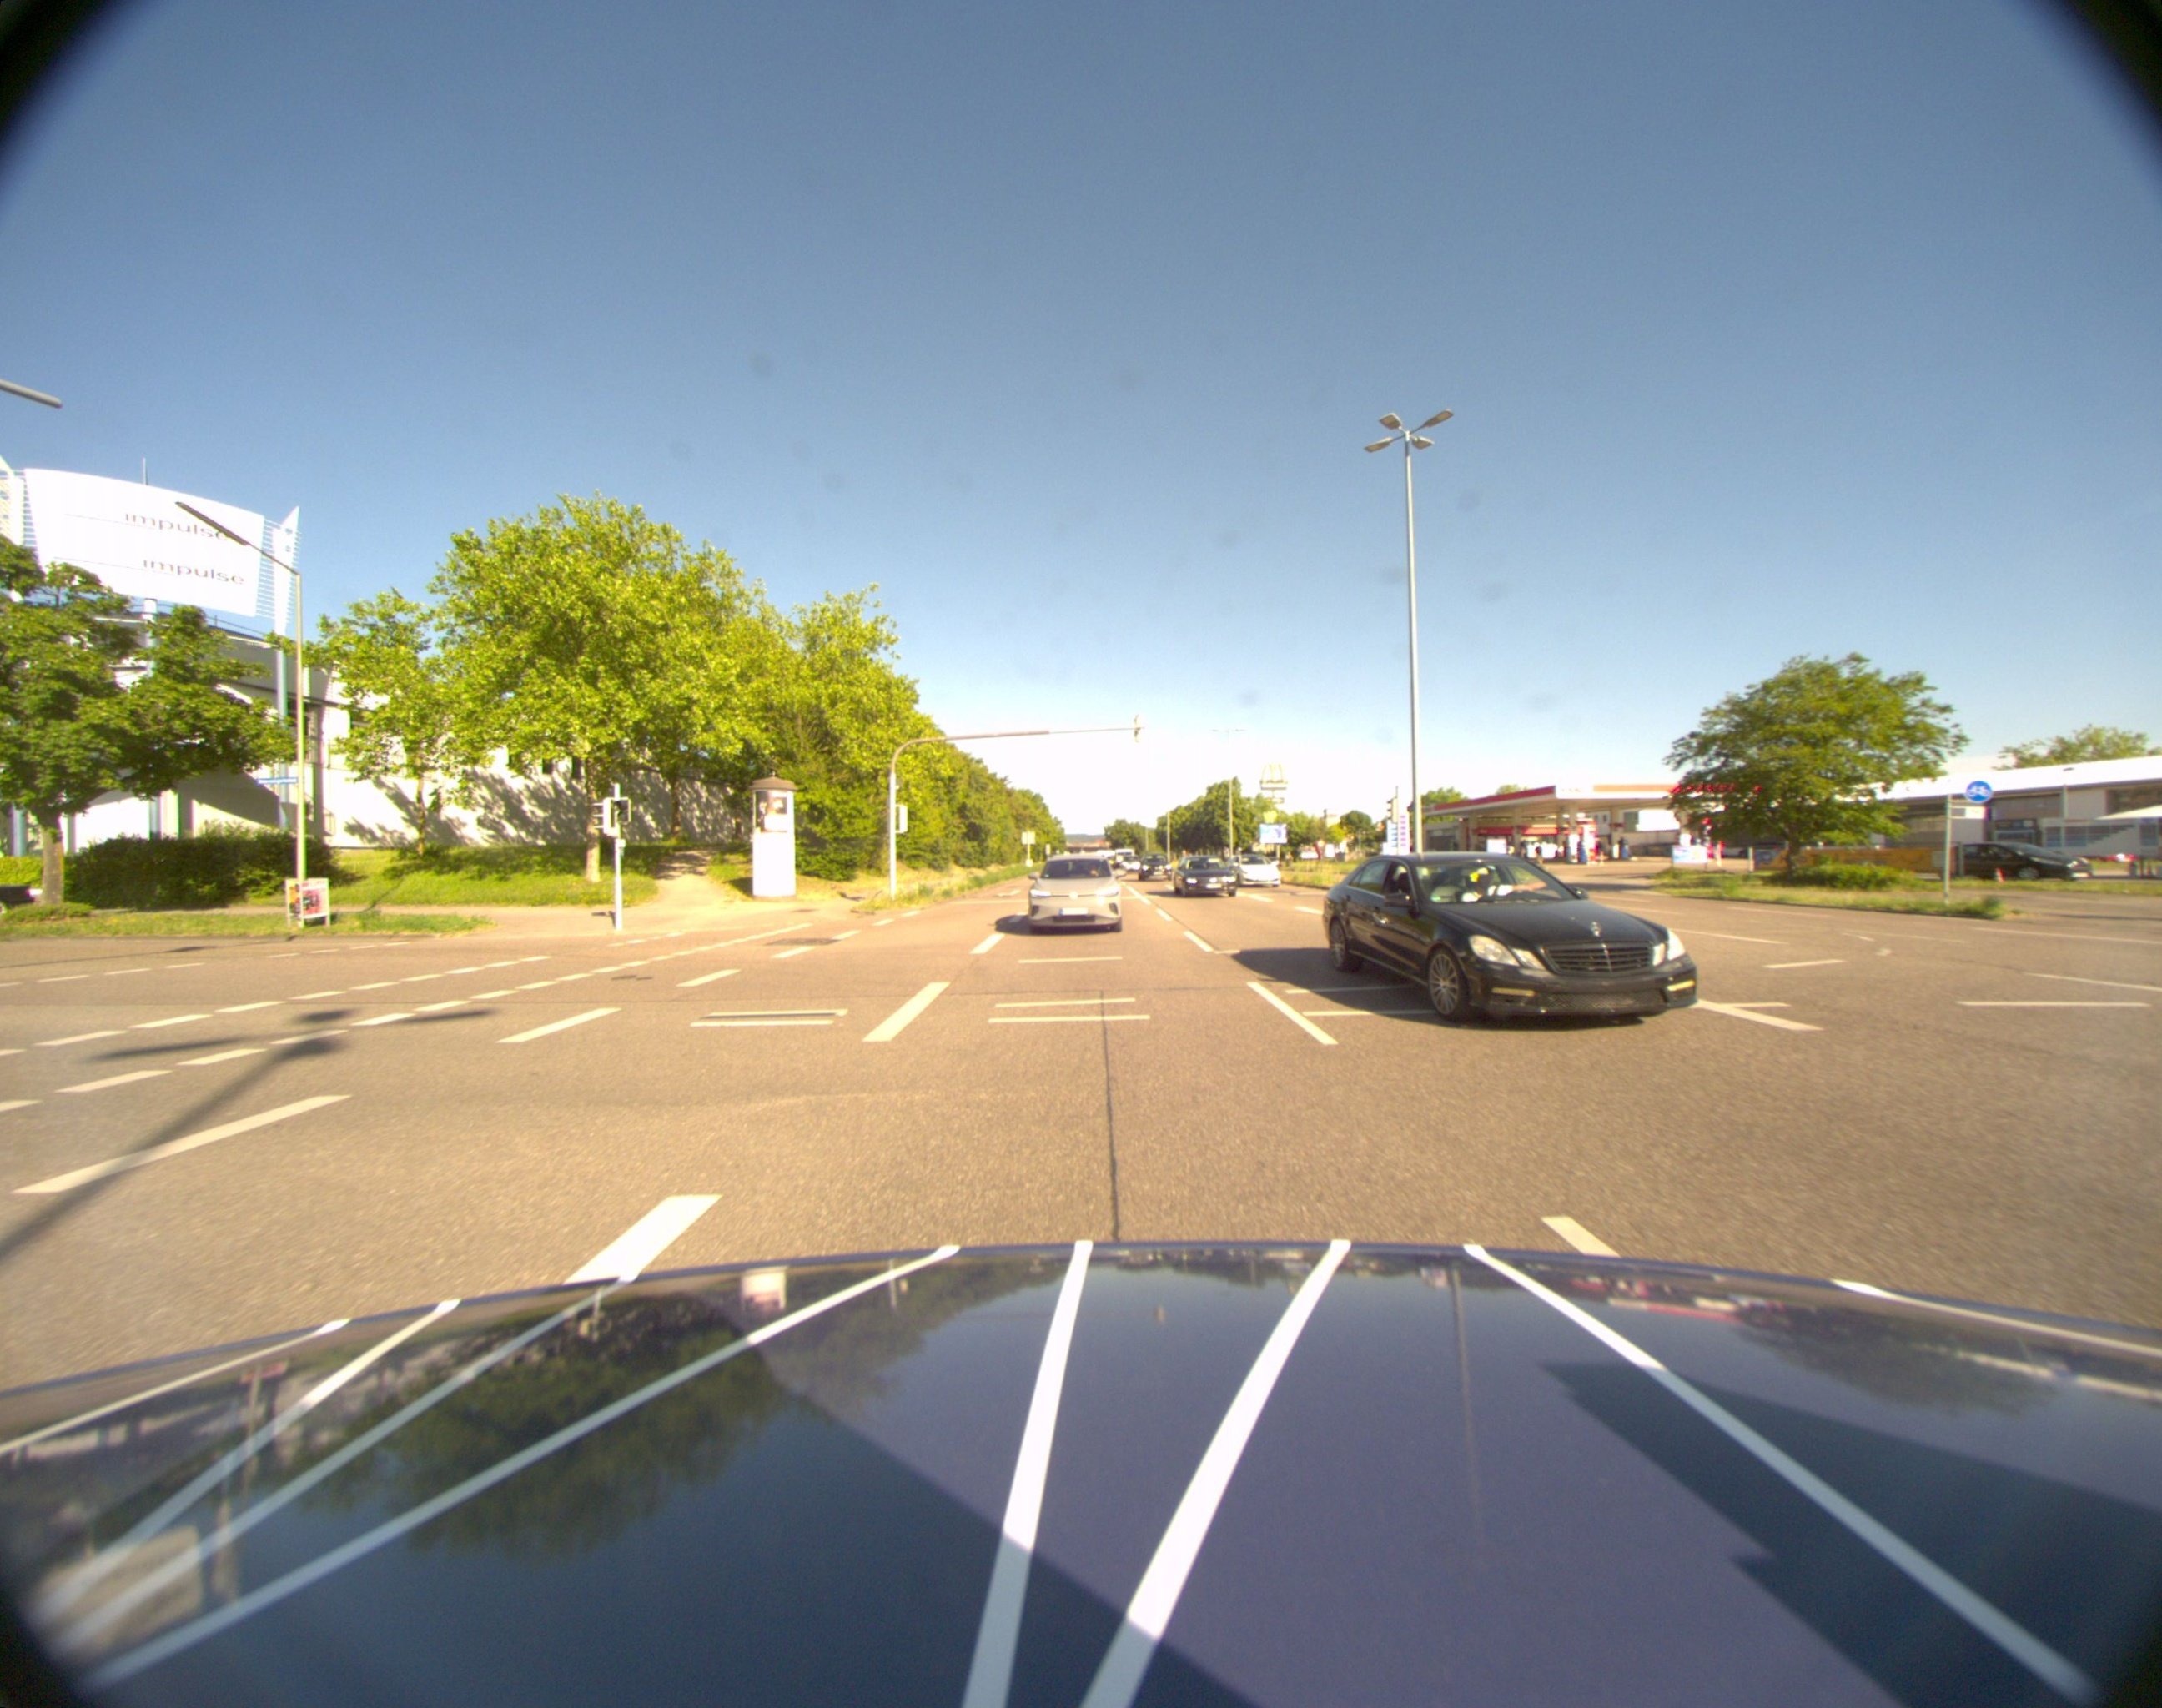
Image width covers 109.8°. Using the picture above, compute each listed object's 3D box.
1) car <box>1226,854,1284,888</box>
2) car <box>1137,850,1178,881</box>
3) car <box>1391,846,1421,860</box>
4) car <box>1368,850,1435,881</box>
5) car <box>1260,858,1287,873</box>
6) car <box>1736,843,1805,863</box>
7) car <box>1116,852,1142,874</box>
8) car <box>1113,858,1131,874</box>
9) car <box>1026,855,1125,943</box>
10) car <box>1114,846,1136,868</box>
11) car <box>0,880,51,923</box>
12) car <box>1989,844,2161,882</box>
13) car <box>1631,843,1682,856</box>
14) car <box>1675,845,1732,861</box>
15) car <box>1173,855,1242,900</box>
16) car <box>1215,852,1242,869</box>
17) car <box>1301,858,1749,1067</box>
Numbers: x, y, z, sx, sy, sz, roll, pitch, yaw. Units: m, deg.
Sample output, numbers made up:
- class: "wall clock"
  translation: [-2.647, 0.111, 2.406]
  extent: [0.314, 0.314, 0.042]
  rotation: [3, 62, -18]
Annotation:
- class: "car"
  translation: [7.809, 0.720, 34.479]
  extent: [1.790, 1.447, 4.116]
  rotation: [-1, 0, 1]
- class: "car"
  translation: [4.527, 0.642, 45.545]
  extent: [1.998, 1.674, 4.696]
  rotation: [-2, 0, 1]
- class: "car"
  translation: [38.660, -0.136, 90.480]
  extent: [1.762, 1.604, 4.119]
  rotation: [1, 1, -1]
- class: "car"
  translation: [17.307, 0.581, 41.211]
  extent: [1.900, 1.590, 4.267]
  rotation: [1, 1, 1]
- class: "car"
  translation: [20.226, 1.167, 79.956]
  extent: [1.699, 1.424, 4.458]
  rotation: [1, 0, 1]
- class: "car"
  translation: [56.888, -0.090, 62.781]
  extent: [1.900, 1.582, 4.119]
  rotation: [1, 1, 0]
- class: "car"
  translation: [4.076, 0.734, 65.067]
  extent: [1.998, 1.779, 4.270]
  rotation: [-2, 0, 1]
- class: "car"
  translation: [5.237, 1.530, 97.680]
  extent: [1.998, 2.002, 4.000]
  rotation: [-2, 0, 1]
- class: "car"
  translation: [-0.060, 0.867, 16.606]
  extent: [1.848, 1.615, 4.265]
  rotation: [-2, 0, 1]
- class: "car"
  translation: [4.797, 0.289, 83.111]
  extent: [2.089, 2.229, 4.000]
  rotation: [-2, 1, 1]
- class: "car"
  translation: [-29.640, 1.307, 19.025]
  extent: [1.721, 1.117, 4.361]
  rotation: [-1, 0, -1]
- class: "car"
  translation: [37.572, 0.294, 28.576]
  extent: [1.900, 1.317, 4.119]
  rotation: [1, 0, -1]
- class: "car"
  translation: [57.216, -0.480, 75.639]
  extent: [1.900, 1.220, 4.119]
  rotation: [1, 0, -1]
- class: "car"
  translation: [56.635, -0.067, 69.186]
  extent: [1.772, 1.432, 4.119]
  rotation: [0, 0, -1]
- class: "car"
  translation: [4.512, 0.800, 27.601]
  extent: [1.848, 1.445, 4.265]
  rotation: [-2, 0, 1]
- class: "car"
  translation: [12.986, 0.576, 67.006]
  extent: [1.699, 1.424, 3.664]
  rotation: [1, 1, 1]
- class: "car"
  translation: [4.009, 0.821, 8.102]
  extent: [1.964, 1.474, 4.918]
  rotation: [-1, 0, 1]
